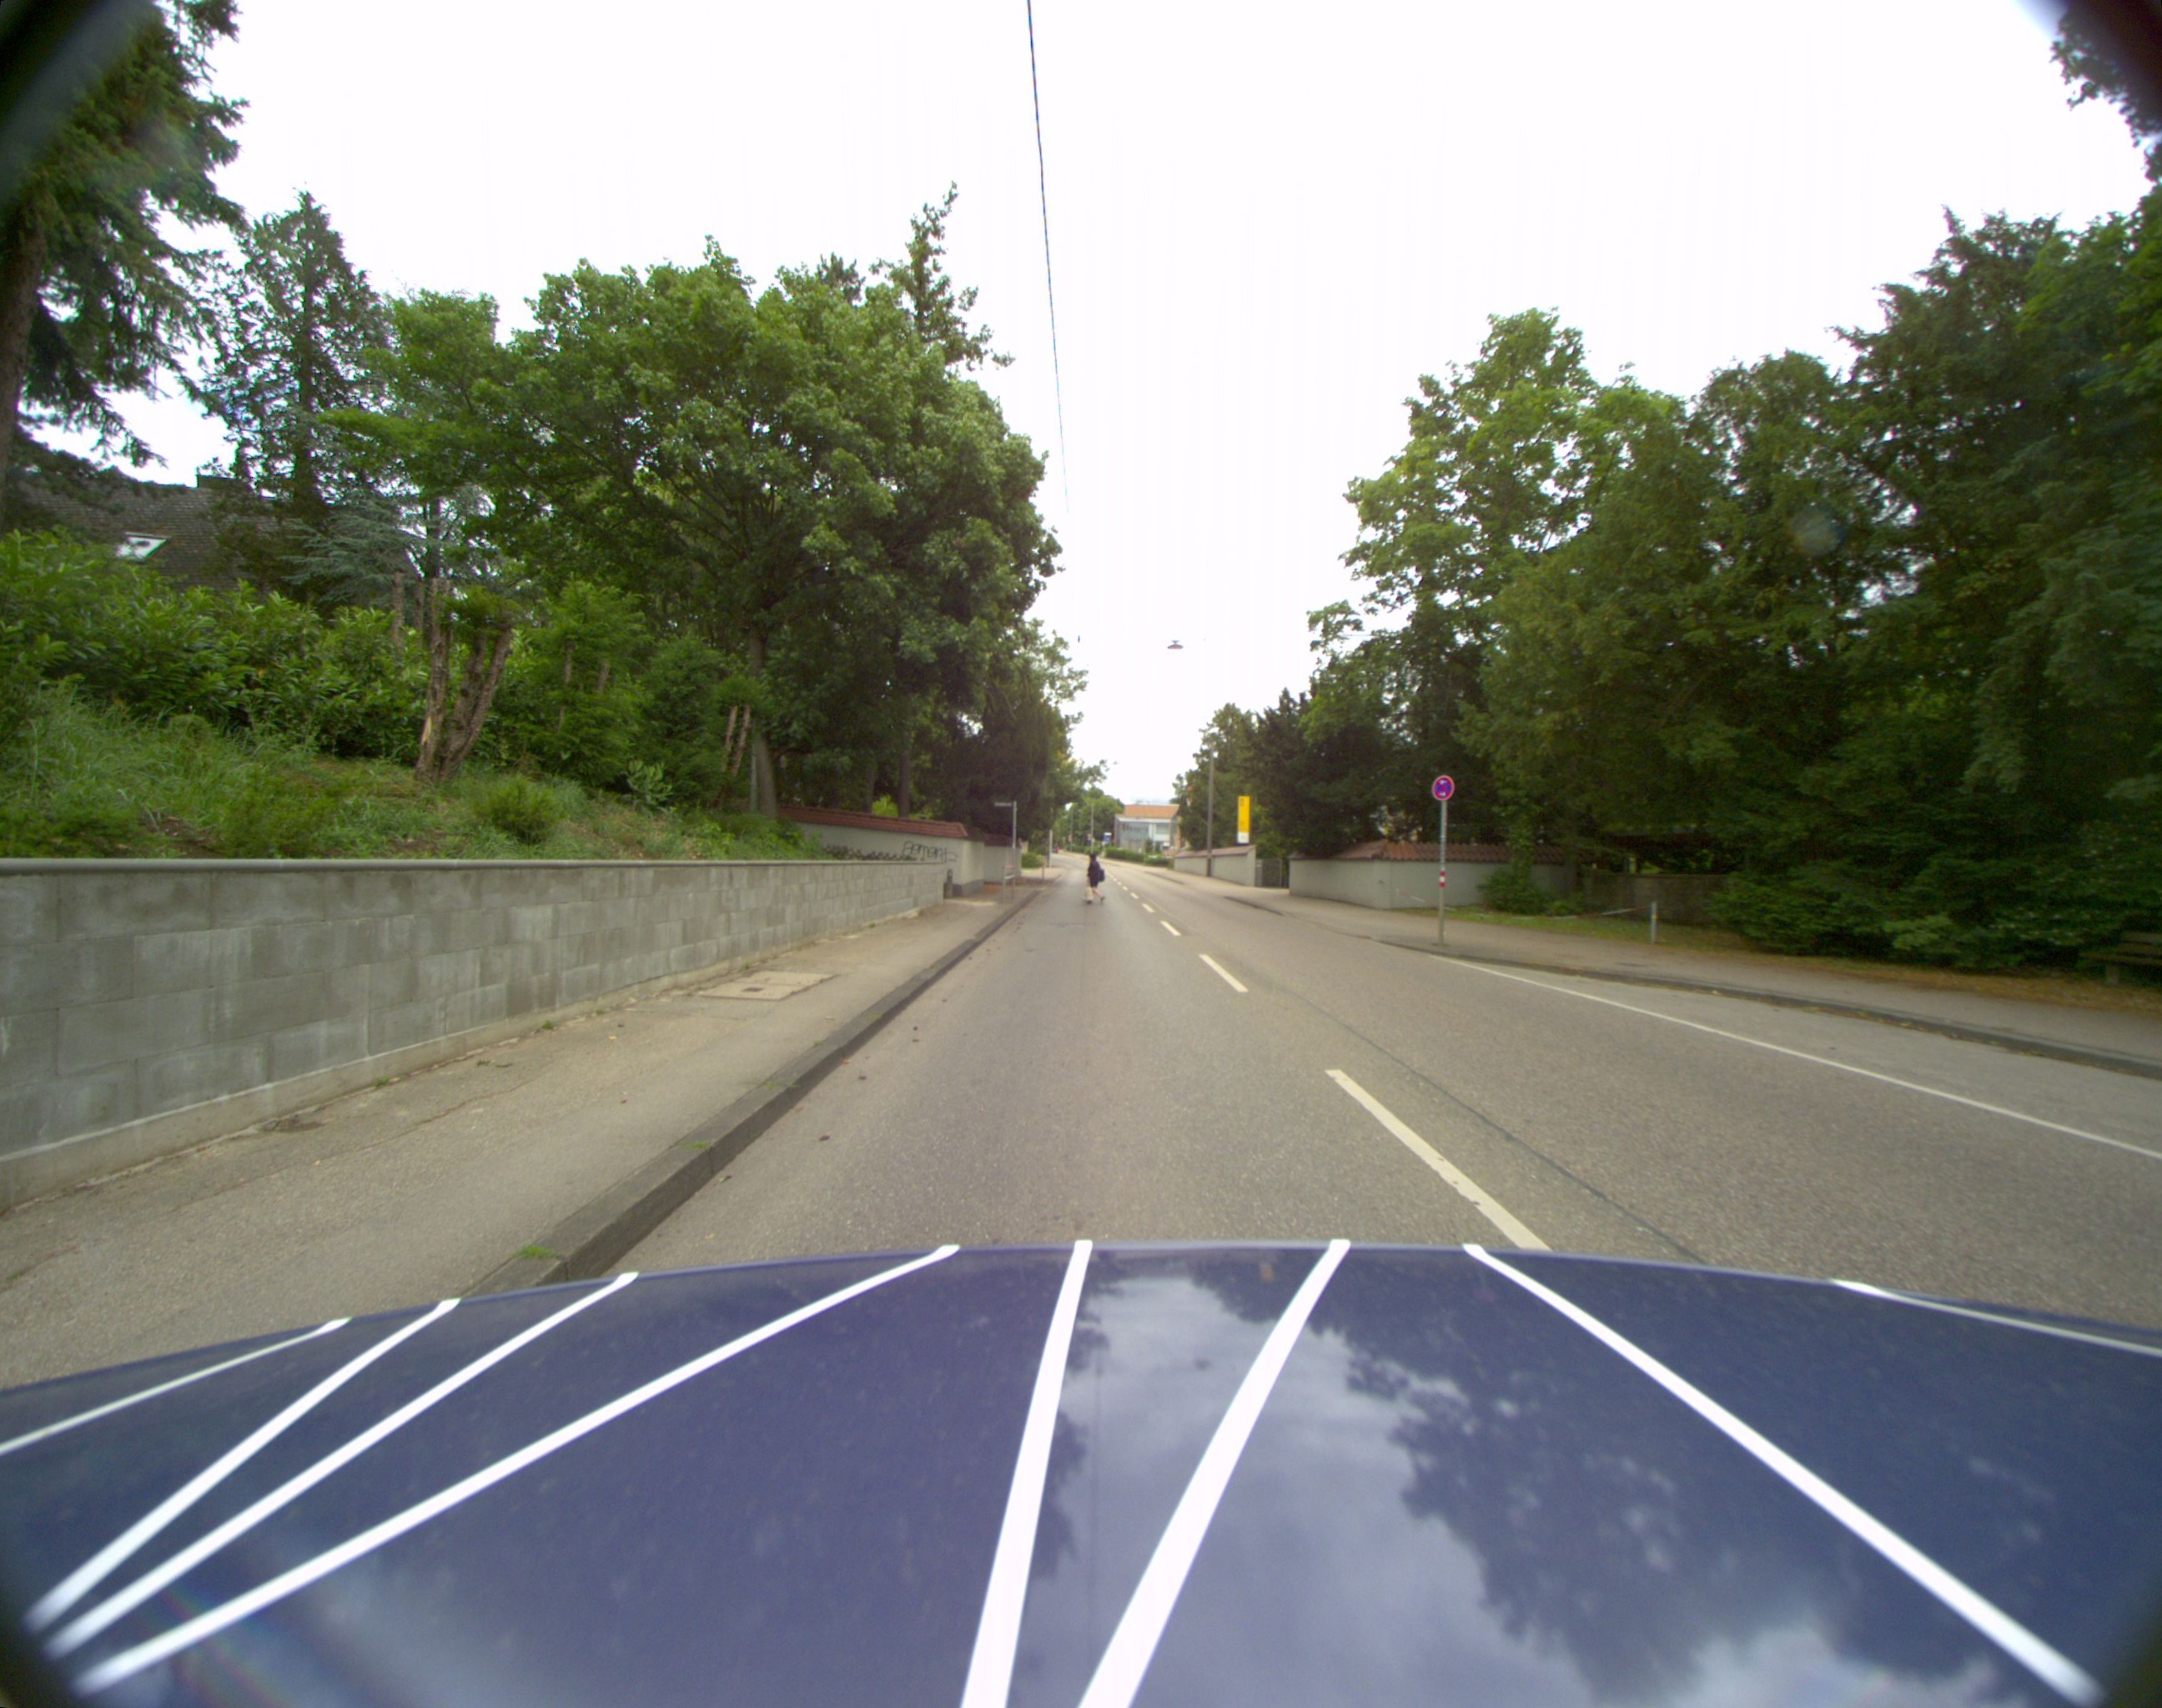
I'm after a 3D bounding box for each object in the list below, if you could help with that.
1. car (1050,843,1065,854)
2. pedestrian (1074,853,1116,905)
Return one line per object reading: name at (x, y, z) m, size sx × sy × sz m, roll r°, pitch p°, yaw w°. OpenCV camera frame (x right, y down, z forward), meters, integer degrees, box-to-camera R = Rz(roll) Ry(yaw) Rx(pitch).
car at (-4.753, -1.105, 153.278) m, size 1.898 × 1.845 × 5.075 m, roll 4°, pitch 0°, yaw -15°
pedestrian at (0.442, 0.762, 23.406) m, size 0.900 × 1.551 × 0.930 m, roll 1°, pitch 1°, yaw 38°
